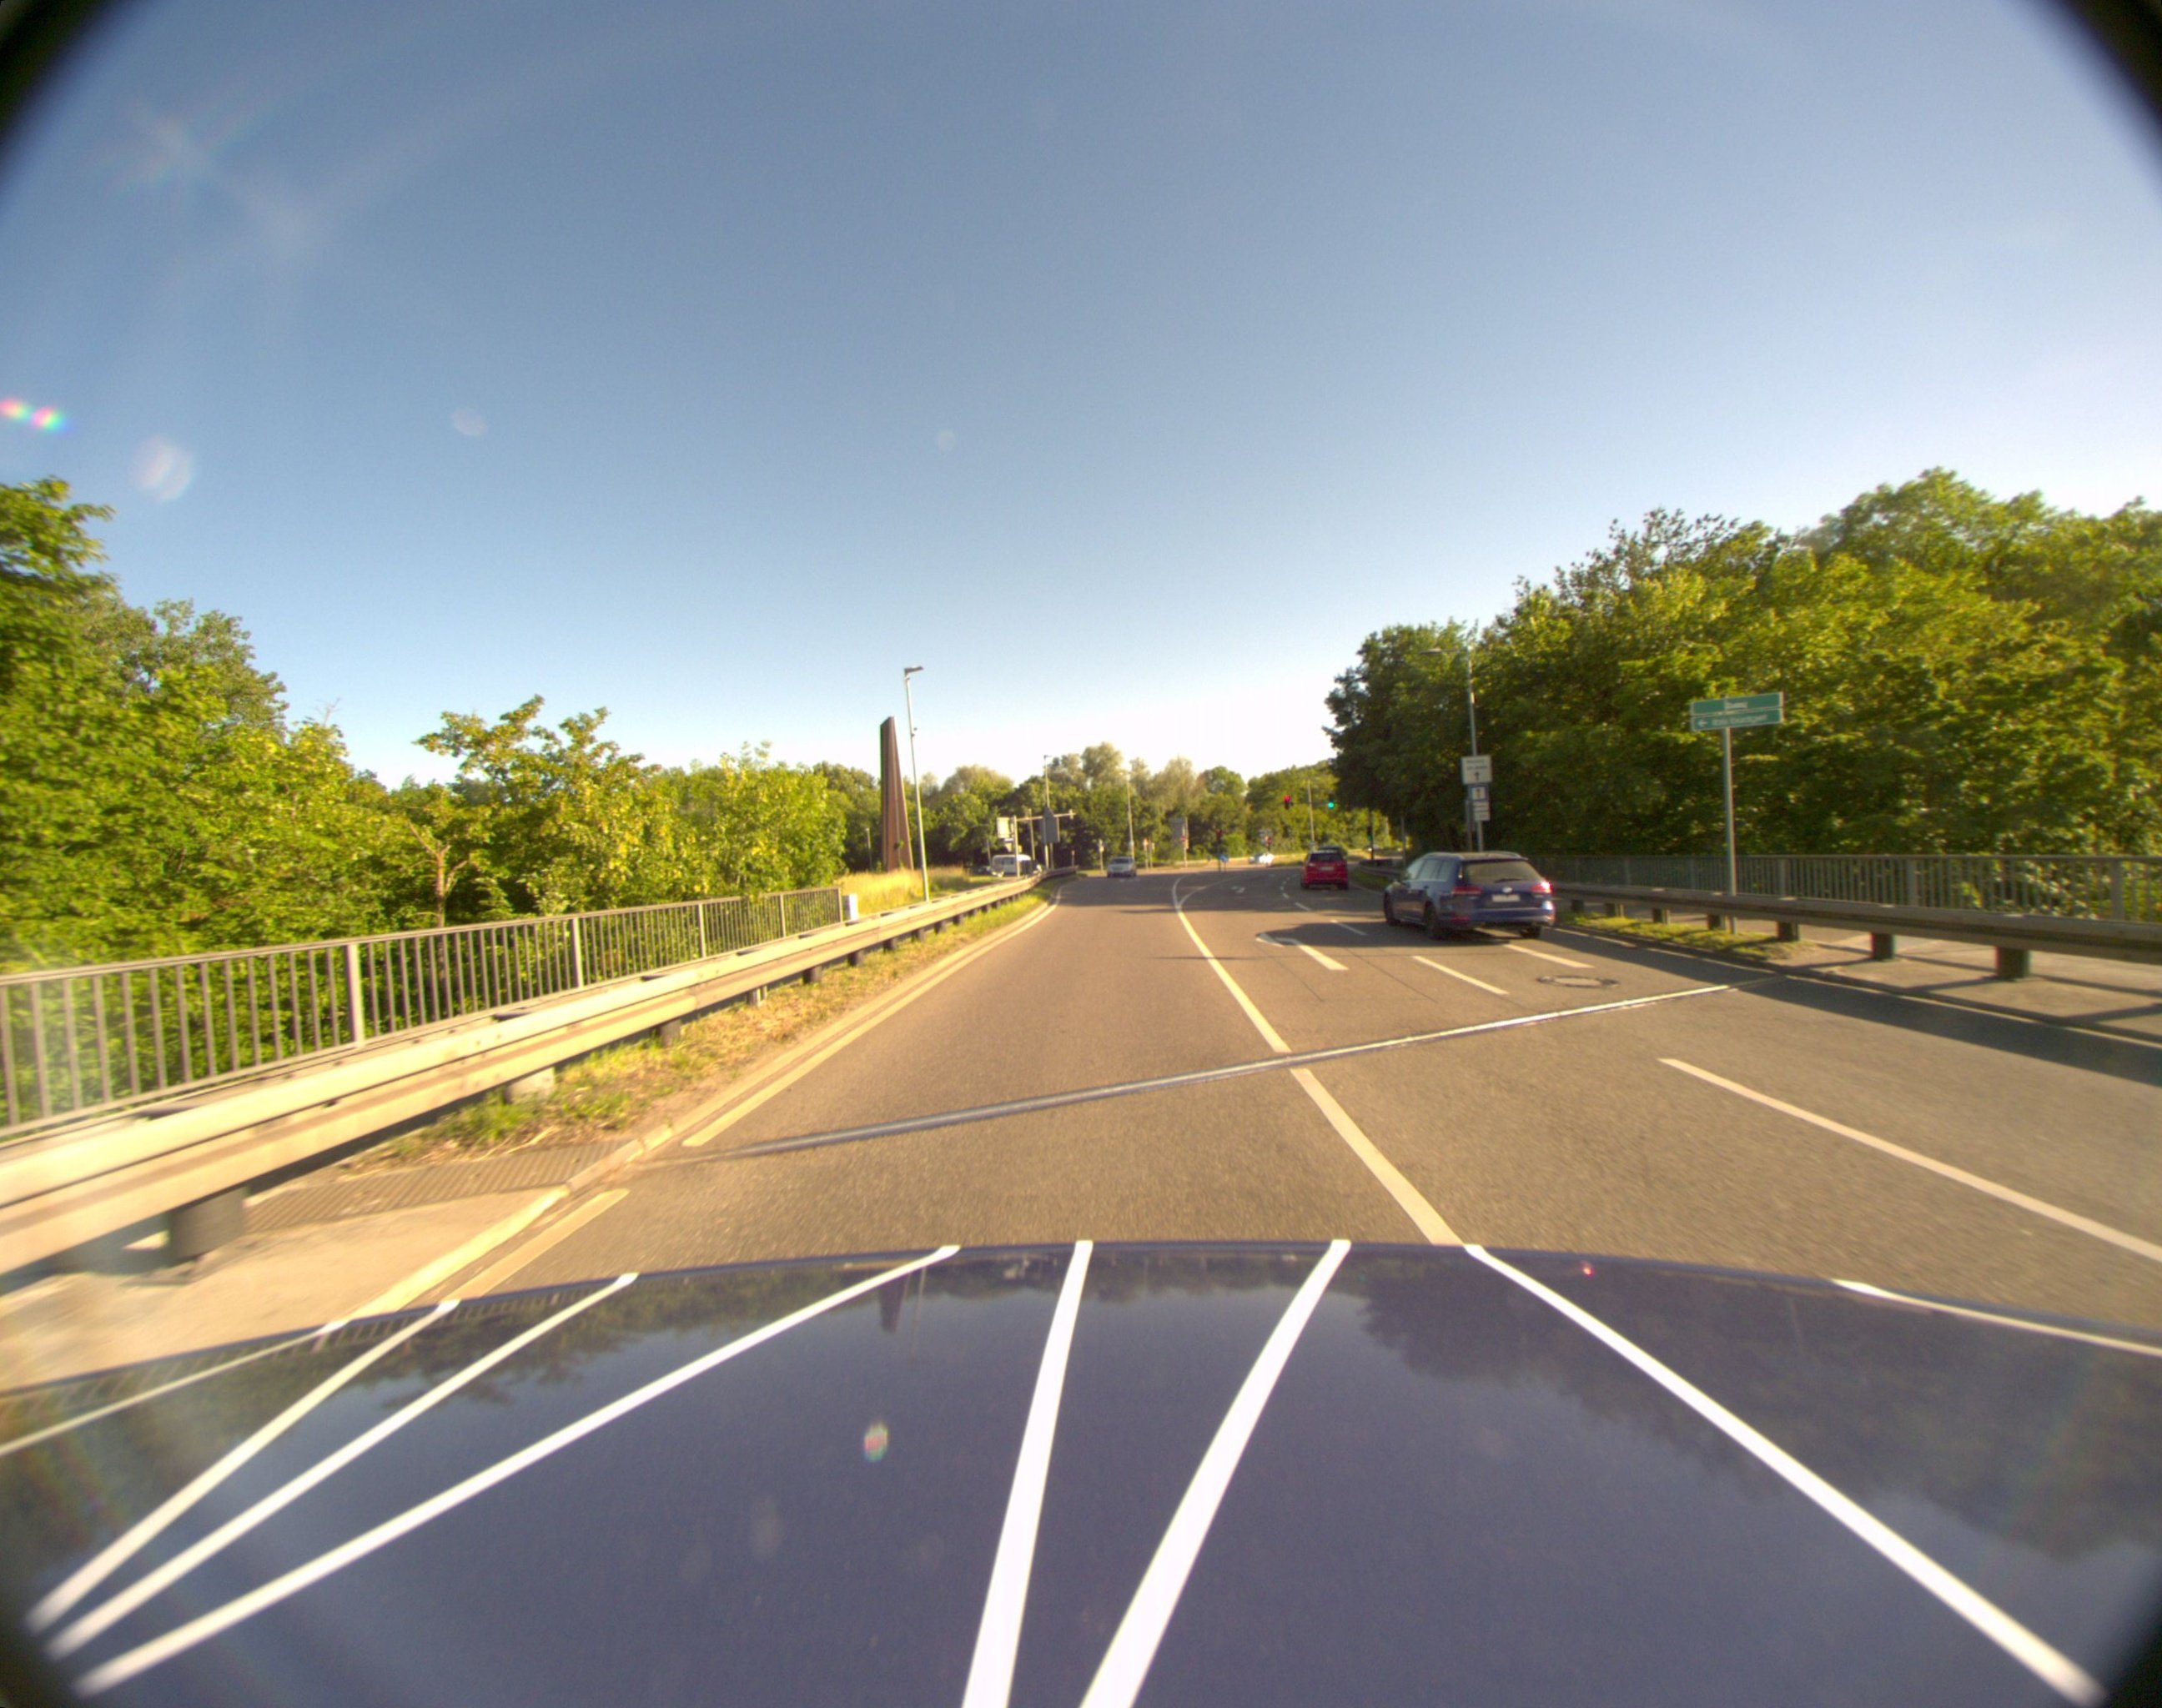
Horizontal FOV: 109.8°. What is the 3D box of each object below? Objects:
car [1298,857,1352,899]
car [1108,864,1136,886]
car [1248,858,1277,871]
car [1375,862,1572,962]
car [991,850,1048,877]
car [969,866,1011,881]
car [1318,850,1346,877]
[{"bbox_3d":[10.332,0.964,32.361,1.807,1.628,4.004,-2,0,13],"label":"car"},{"bbox_3d":[3.013,1.474,54.953,1.763,1.428,4.332,-2,0,6],"label":"car"},{"bbox_3d":[23.231,1.324,97.135,1.989,1.465,4.138,-2,0,39],"label":"car"},{"bbox_3d":[6.891,0.922,13.920,1.727,1.477,4.409,-1,0,6],"label":"car"},{"bbox_3d":[-6.292,0.996,77.637,5.691,2.484,2.119,-4,-1,37],"label":"car"},{"bbox_3d":[-9.032,1.910,75.099,3.977,1.405,1.848,-2,0,38],"label":"car"},{"bbox_3d":[19.954,0.710,60.252,1.951,2.100,5.278,0,0,19],"label":"car"}]
